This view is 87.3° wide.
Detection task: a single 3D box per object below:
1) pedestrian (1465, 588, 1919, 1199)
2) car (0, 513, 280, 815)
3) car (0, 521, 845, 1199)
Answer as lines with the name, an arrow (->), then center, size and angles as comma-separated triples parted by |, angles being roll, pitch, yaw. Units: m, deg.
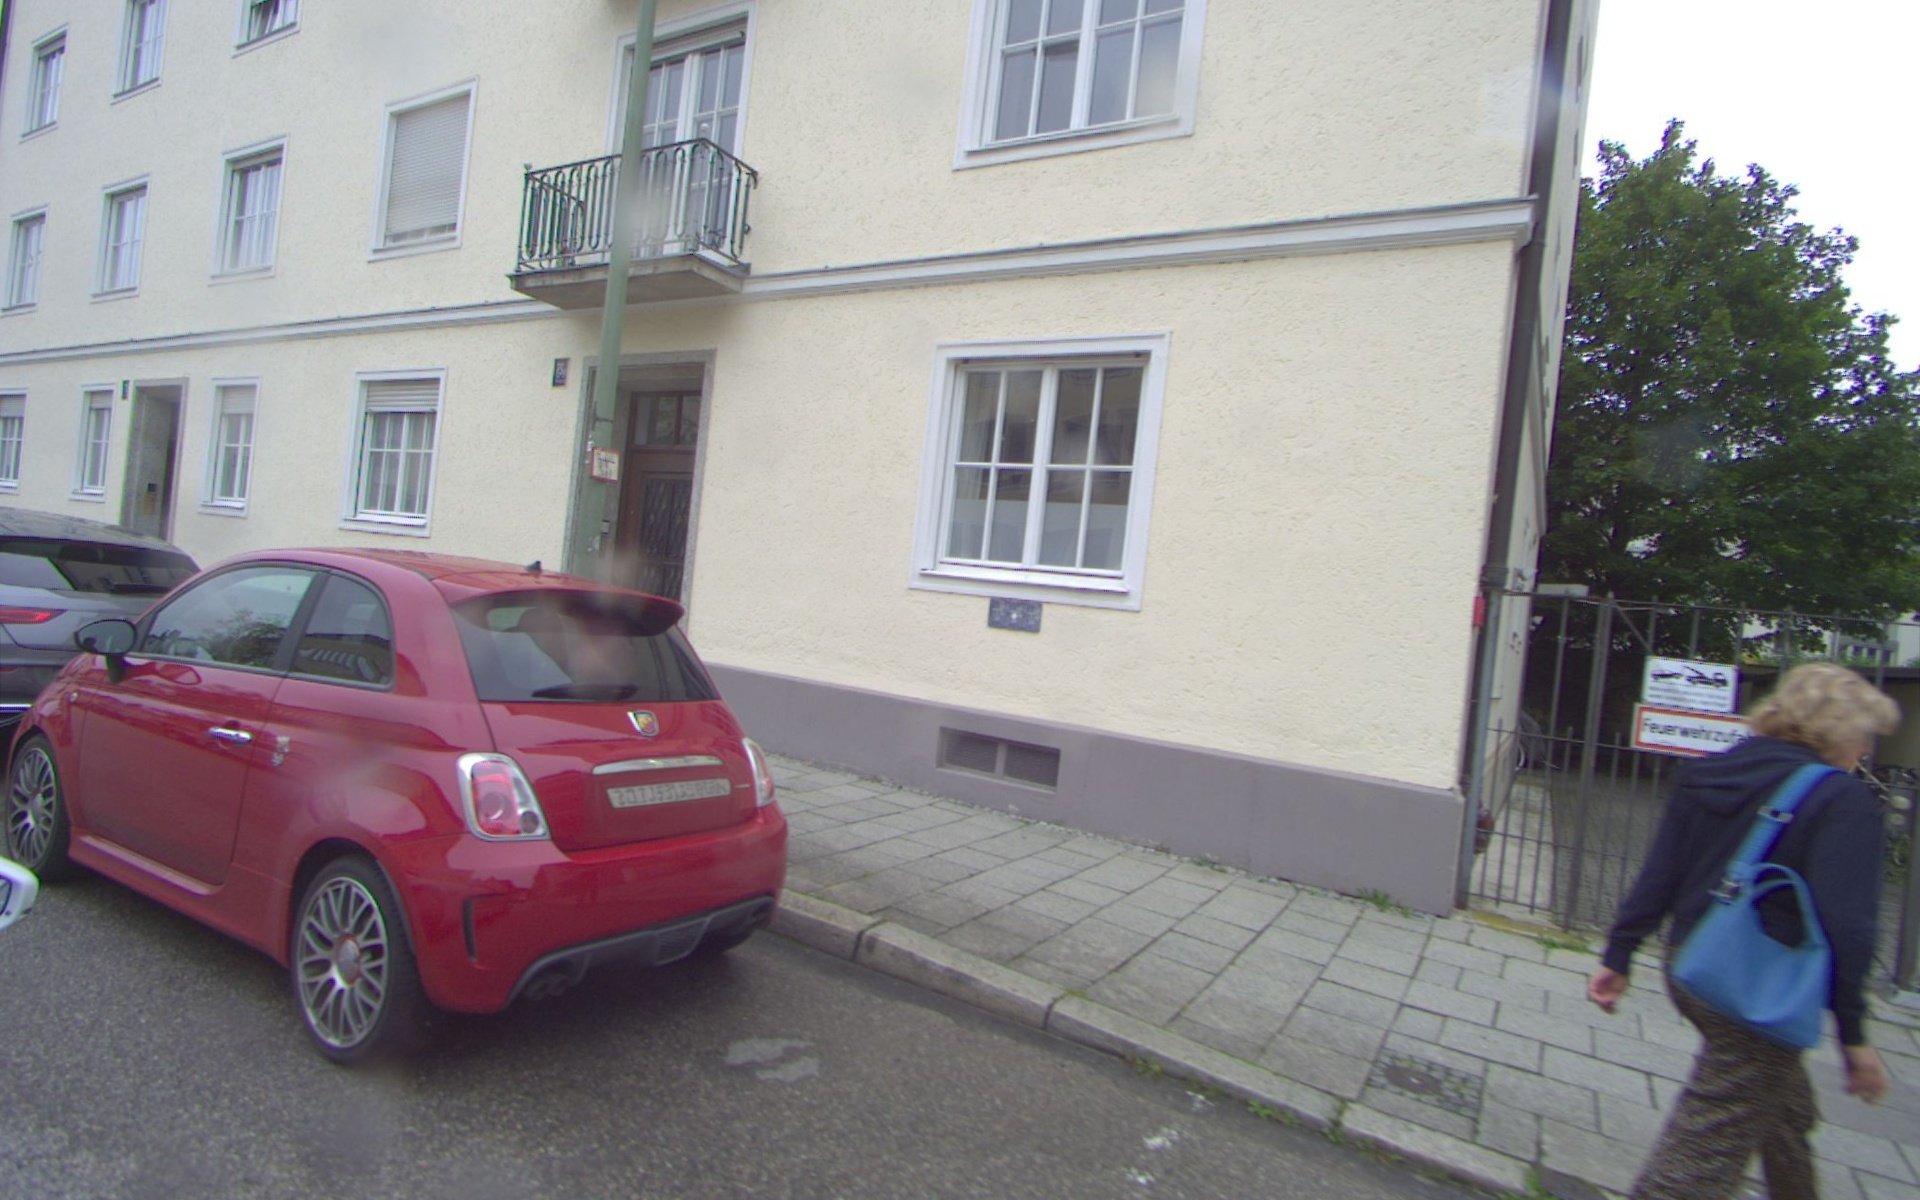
pedestrian -> 1.917, 0.893, 2.501 | 0.662, 1.748, 0.795 | 8, -1, -11
car -> -6.537, 0.181, 6.581 | 4.270, 1.510, 1.695 | 6, -1, 30
car -> -2.521, 0.654, 4.216 | 3.738, 1.527, 1.598 | 7, -1, 32
